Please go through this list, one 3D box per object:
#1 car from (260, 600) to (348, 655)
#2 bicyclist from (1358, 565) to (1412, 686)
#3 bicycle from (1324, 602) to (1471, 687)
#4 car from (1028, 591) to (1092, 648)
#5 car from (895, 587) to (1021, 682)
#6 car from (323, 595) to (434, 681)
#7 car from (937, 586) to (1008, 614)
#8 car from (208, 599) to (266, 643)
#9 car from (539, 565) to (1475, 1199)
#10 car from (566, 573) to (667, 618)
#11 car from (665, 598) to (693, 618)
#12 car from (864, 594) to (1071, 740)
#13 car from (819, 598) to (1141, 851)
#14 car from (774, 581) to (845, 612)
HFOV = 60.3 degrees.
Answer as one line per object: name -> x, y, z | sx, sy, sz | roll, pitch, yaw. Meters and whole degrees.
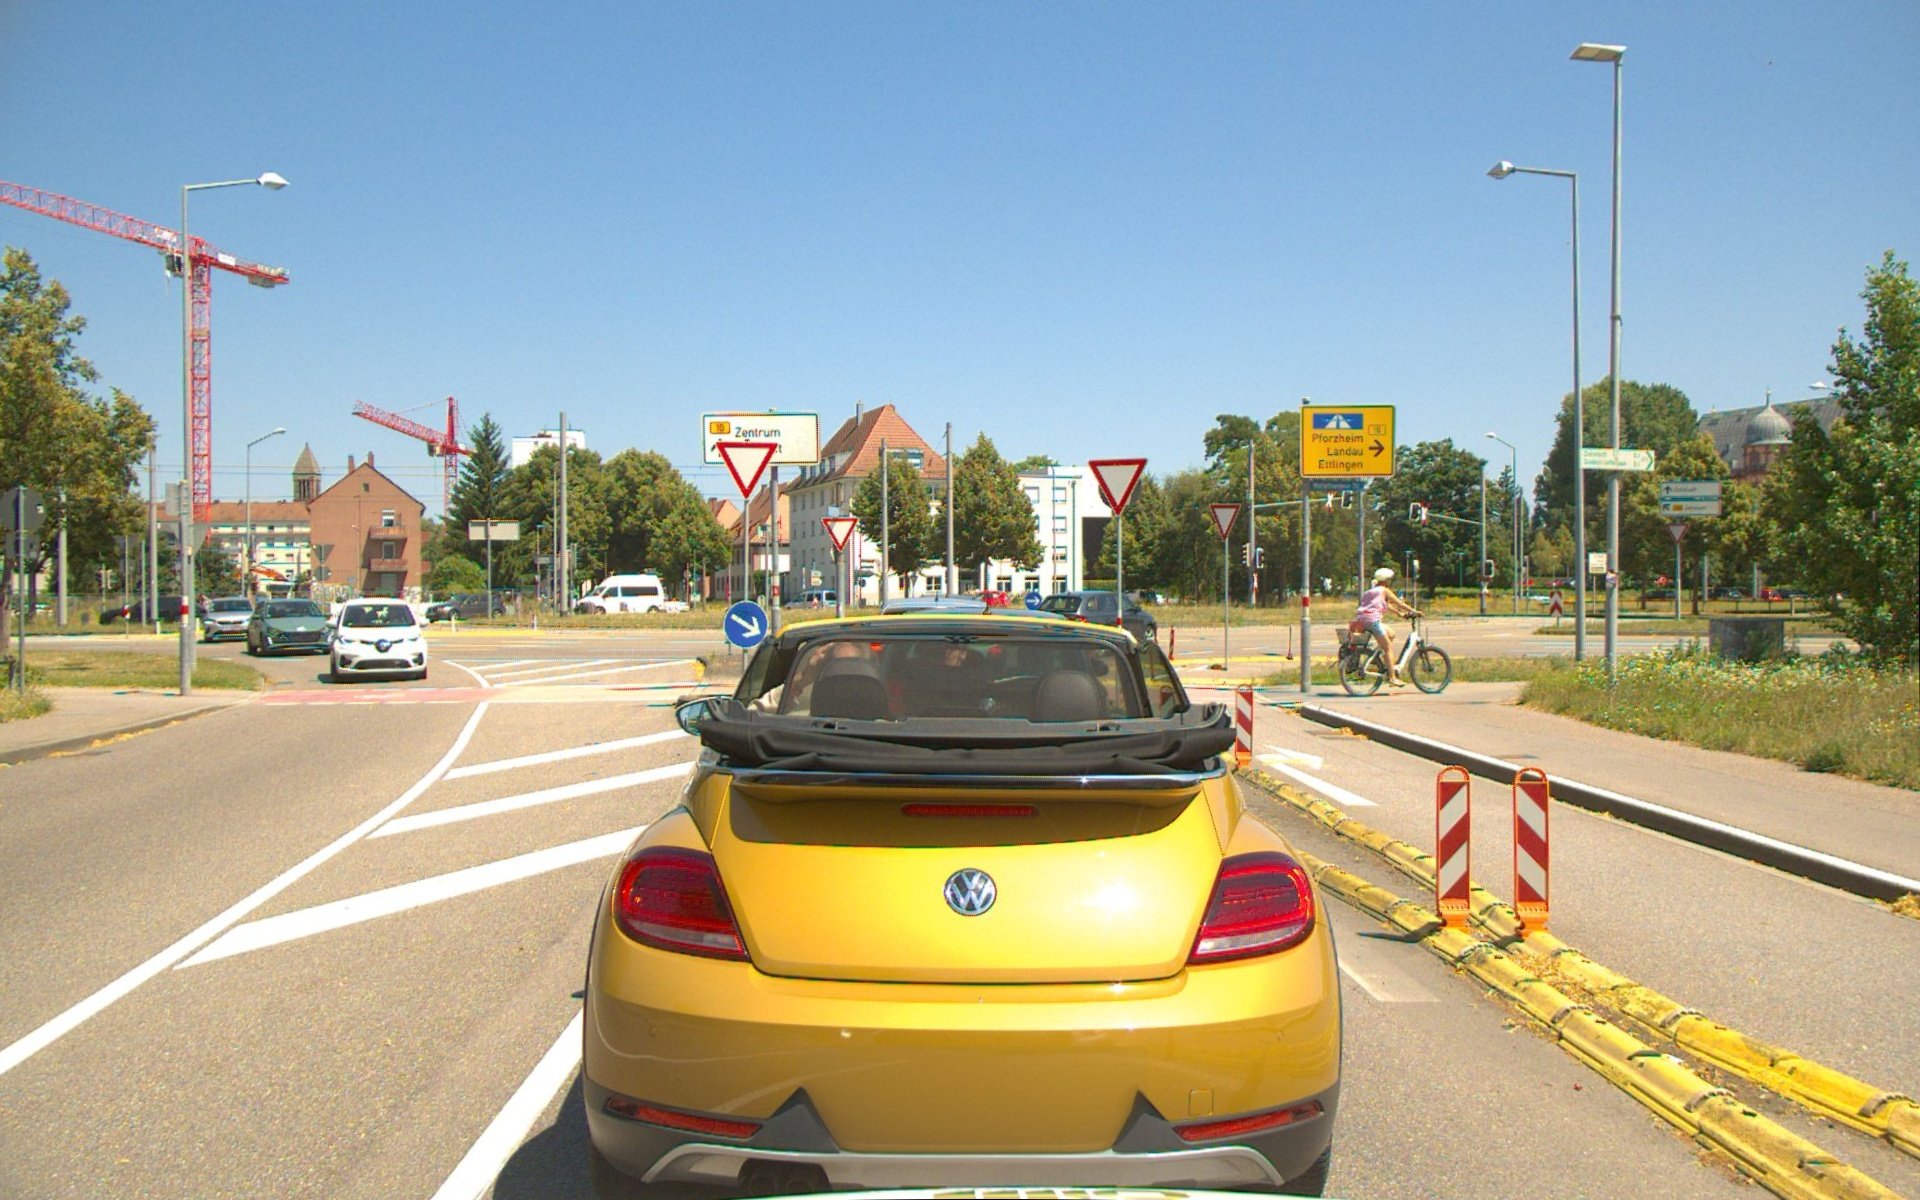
car -> -17.675, 0.715, 44.702 | 1.718, 1.395, 4.313 | 1, 0, -16
bicyclist -> 6.402, 0.373, 24.924 | 0.656, 1.783, 0.593 | -1, 1, 3
bicycle -> 6.569, 0.659, 24.904 | 2.048, 1.242, 0.634 | -1, 0, 1
car -> 2.359, 0.461, 39.551 | 1.404, 1.281, 3.218 | 1, 0, 2
car -> -0.064, 0.546, 29.025 | 2.023, 1.506, 4.542 | -1, 0, -1
car -> -11.513, 0.696, 32.605 | 1.752, 1.554, 3.843 | -1, 0, -24
car -> 0.817, -0.019, 104.924 | 4.240, 1.683, 1.902 | 1, 0, 8
car -> -24.464, 0.693, 55.937 | 1.705, 1.427, 4.237 | 1, 0, -25
car -> 0.062, 0.711, 5.211 | 1.729, 1.507, 4.257 | 1, 0, -1
car -> -19.466, -0.252, 93.888 | 5.276, 2.439, 1.966 | 1, -1, -40
car -> -25.259, 0.707, 148.581 | 1.856, 1.803, 3.977 | 1, 0, -19
car -> 0.085, 0.675, 18.524 | 2.022, 1.406, 4.258 | 1, 0, 0
car -> 0.085, 0.700, 11.512 | 1.814, 1.389, 4.257 | -1, 0, -1
car -> -10.662, -0.231, 117.106 | 5.232, 2.107, 1.983 | 1, 0, 41
